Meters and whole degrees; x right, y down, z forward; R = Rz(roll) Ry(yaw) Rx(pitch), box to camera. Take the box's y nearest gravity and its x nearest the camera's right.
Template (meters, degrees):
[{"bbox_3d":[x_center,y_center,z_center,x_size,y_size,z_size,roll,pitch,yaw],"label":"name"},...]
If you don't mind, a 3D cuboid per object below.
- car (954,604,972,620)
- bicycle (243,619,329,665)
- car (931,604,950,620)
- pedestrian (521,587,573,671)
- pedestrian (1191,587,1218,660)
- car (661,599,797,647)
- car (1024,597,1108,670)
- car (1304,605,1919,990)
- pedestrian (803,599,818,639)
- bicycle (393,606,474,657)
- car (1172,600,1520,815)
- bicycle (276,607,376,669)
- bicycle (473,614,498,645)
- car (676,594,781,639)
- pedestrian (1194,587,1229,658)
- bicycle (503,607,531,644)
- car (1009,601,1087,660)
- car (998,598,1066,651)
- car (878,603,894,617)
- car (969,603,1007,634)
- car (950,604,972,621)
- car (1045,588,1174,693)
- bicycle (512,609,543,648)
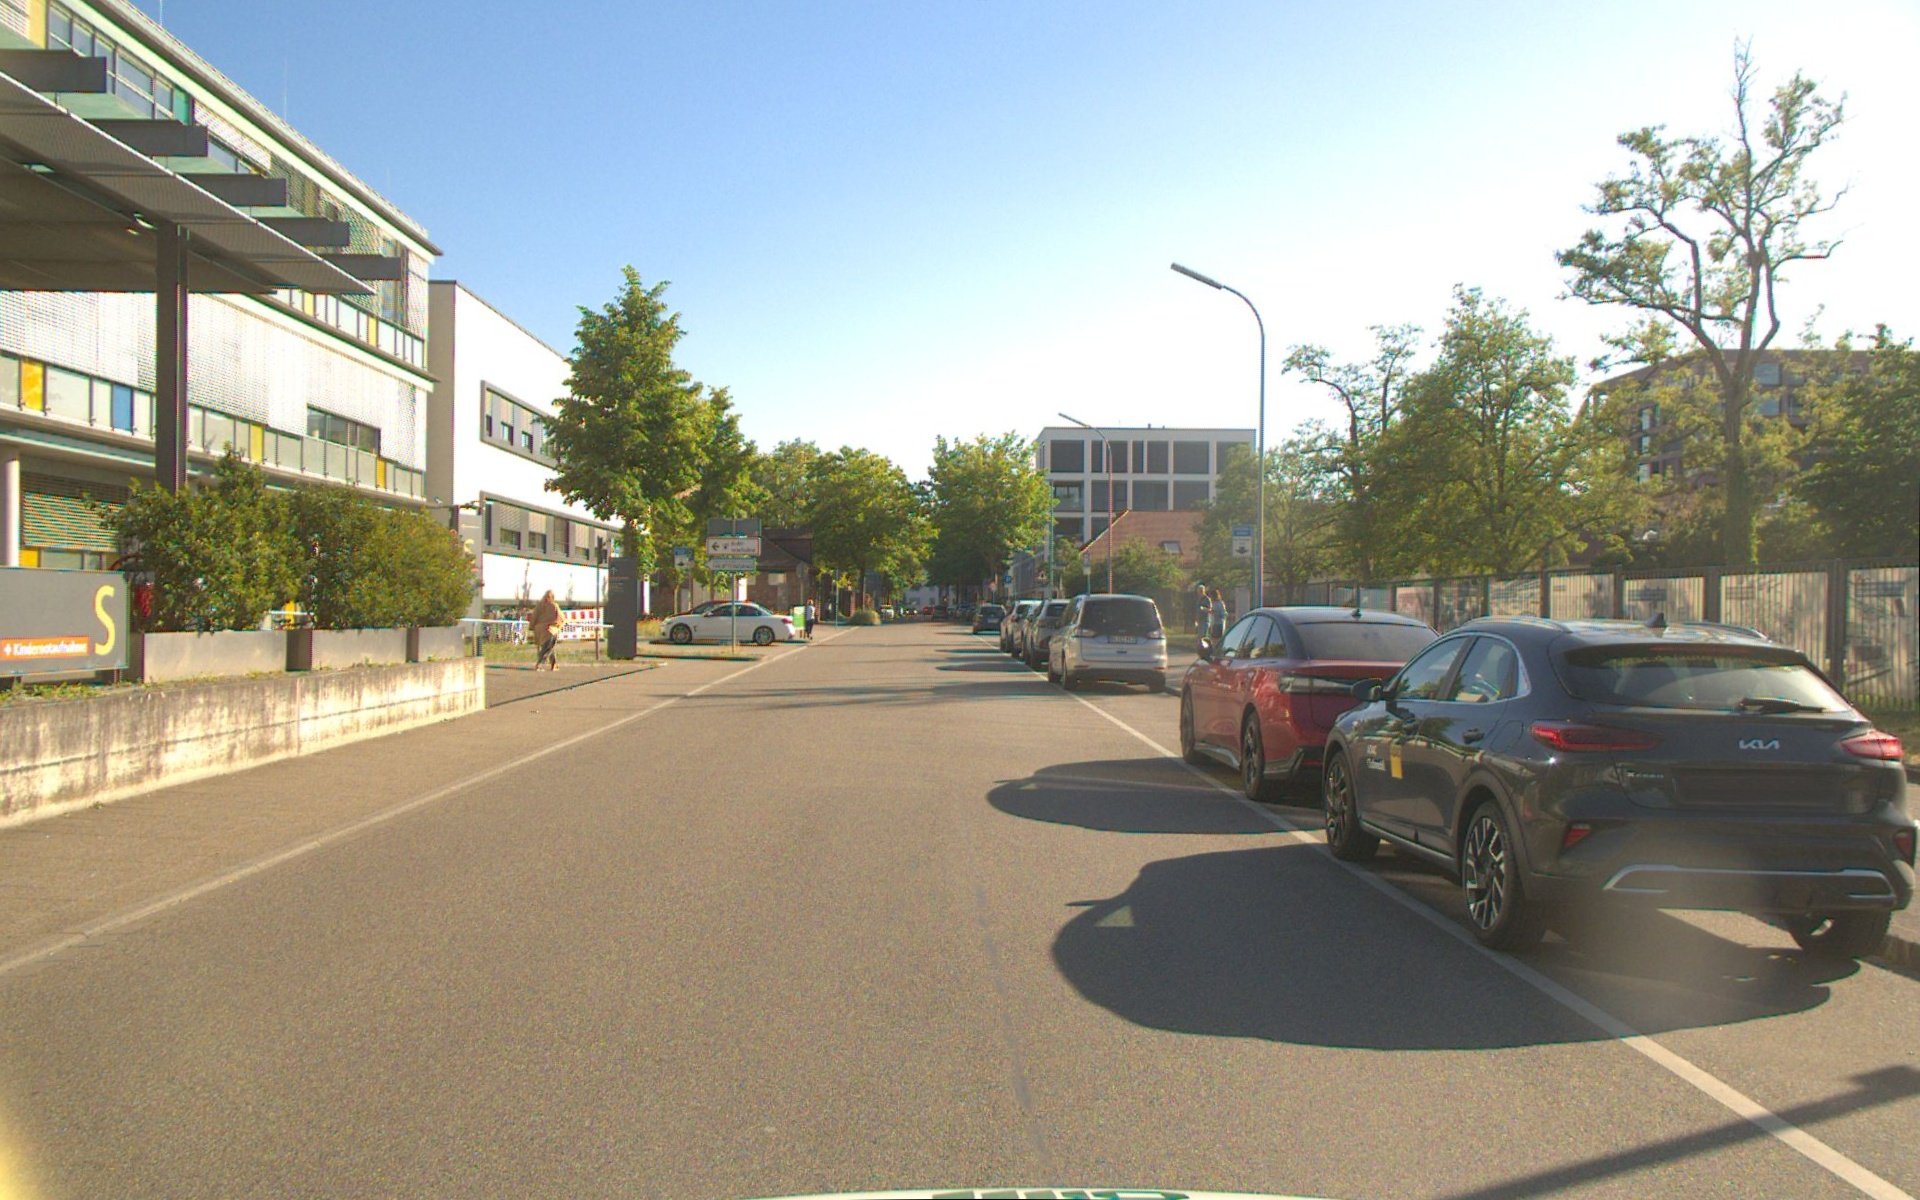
[{"bbox_3d":[0.298,1.236,171.551,1.910,1.606,3.836,0,0,-1],"label":"car"},{"bbox_3d":[-15.073,0.932,37.017,1.680,1.011,0.536,0,0,-3],"label":"bicycle"},{"bbox_3d":[-1.966,1.215,165.980,1.731,1.575,4.064,0,0,-3],"label":"car"},{"bbox_3d":[-8.023,0.560,32.170,0.757,1.576,0.780,2,-1,-1],"label":"pedestrian"},{"bbox_3d":[5.986,0.576,40.557,0.511,1.738,0.522,2,-1,-4],"label":"pedestrian"},{"bbox_3d":[-7.794,0.782,56.061,4.425,1.391,1.697,3,0,-7],"label":"car"},{"bbox_3d":[2.523,0.767,40.265,1.666,1.634,4.352,2,0,-1],"label":"car"},{"bbox_3d":[3.199,0.814,8.837,1.666,1.513,4.213,2,0,-2],"label":"car"},{"bbox_3d":[-5.781,0.723,63.913,0.527,1.550,0.607,0,0,0],"label":"pedestrian"},{"bbox_3d":[-11.896,0.703,37.385,1.667,1.141,0.536,0,0,4],"label":"bicycle"},{"bbox_3d":[3.166,0.800,14.621,1.773,1.537,4.720,2,0,-2],"label":"car"},{"bbox_3d":[-11.949,0.714,31.215,1.684,1.143,0.535,0,0,-11],"label":"bicycle"},{"bbox_3d":[-14.144,0.877,49.321,0.361,0.878,1.450,0,0,0],"label":"bicycle"},{"bbox_3d":[-8.212,0.582,58.929,3.563,1.495,1.612,2,0,-5],"label":"car"},{"bbox_3d":[5.905,0.533,38.895,0.667,1.640,0.540,2,-1,-4],"label":"pedestrian"},{"bbox_3d":[-13.883,0.796,51.811,0.411,1.143,1.763,0,0,0],"label":"bicycle"},{"bbox_3d":[2.402,0.817,46.122,1.667,1.513,3.977,2,0,-4],"label":"car"},{"bbox_3d":[2.313,0.773,53.836,1.777,1.616,4.259,2,0,-3],"label":"car"},{"bbox_3d":[-8.129,1.137,182.431,1.731,1.513,3.998,0,0,-3],"label":"car"},{"bbox_3d":[1.360,0.896,81.479,1.780,1.478,4.213,0,0,0],"label":"car"},{"bbox_3d":[0.097,1.084,142.545,1.731,1.465,3.998,0,0,-3],"label":"car"},{"bbox_3d":[2.706,0.698,30.952,1.773,1.752,4.702,2,0,-2],"label":"car"},{"bbox_3d":[-13.042,0.849,49.887,0.524,1.131,1.860,0,0,-2],"label":"bicycle"}]
